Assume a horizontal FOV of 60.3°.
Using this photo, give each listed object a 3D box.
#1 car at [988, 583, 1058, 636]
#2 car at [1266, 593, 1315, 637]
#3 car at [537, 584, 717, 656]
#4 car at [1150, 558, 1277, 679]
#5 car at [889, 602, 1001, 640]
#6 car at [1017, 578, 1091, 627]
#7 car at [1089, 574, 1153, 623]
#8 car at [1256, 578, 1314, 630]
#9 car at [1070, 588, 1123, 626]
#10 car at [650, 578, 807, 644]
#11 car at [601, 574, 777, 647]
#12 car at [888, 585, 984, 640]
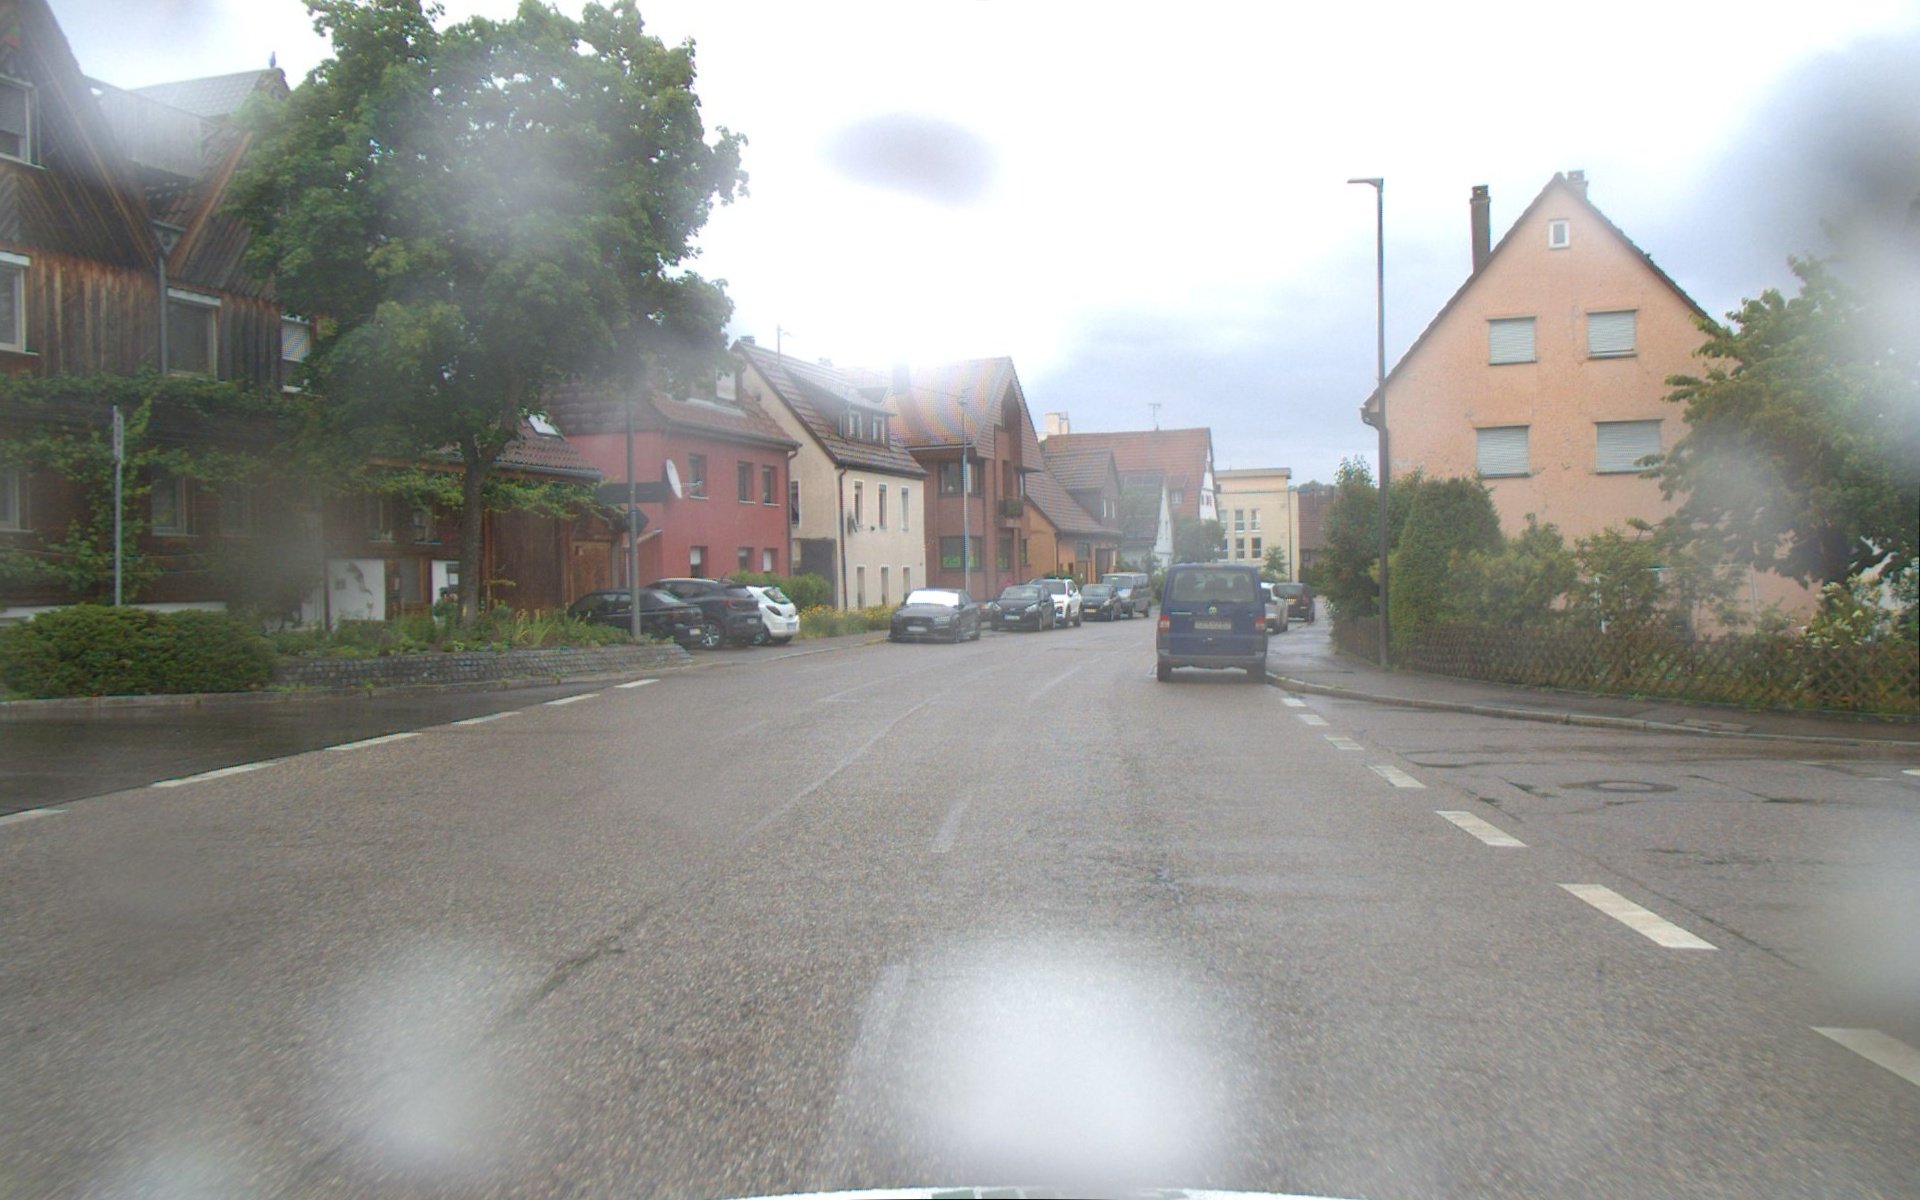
[{"bbox_3d":[2.098,0.287,54.270,1.571,1.646,3.279,-1,0,15],"label":"car"},{"bbox_3d":[14.076,0.612,70.315,1.712,1.739,4.003,-1,0,16],"label":"car"},{"bbox_3d":[-7.064,0.420,35.186,3.373,1.443,1.634,-1,0,17],"label":"car"},{"bbox_3d":[4.385,0.278,29.189,1.890,1.935,4.796,1,0,5],"label":"car"},{"bbox_3d":[-0.591,0.840,66.292,4.086,1.427,1.789,-2,0,22],"label":"car"},{"bbox_3d":[3.401,0.069,58.961,1.727,1.647,4.660,-1,0,15],"label":"car"},{"bbox_3d":[7.152,-0.082,73.082,1.783,2.049,5.217,-1,0,17],"label":"car"},{"bbox_3d":[10.594,0.115,53.740,1.764,1.623,4.615,0,0,12],"label":"car"},{"bbox_3d":[5.626,0.268,68.007,1.545,1.523,3.570,-1,0,15],"label":"car"},{"bbox_3d":[-5.612,0.263,40.184,3.388,1.505,1.592,-1,0,17],"label":"car"},{"bbox_3d":[-6.211,0.208,37.968,3.501,1.532,1.856,2,1,19],"label":"car"},{"bbox_3d":[-0.596,0.299,44.311,1.592,1.379,4.114,1,1,13],"label":"car"}]
